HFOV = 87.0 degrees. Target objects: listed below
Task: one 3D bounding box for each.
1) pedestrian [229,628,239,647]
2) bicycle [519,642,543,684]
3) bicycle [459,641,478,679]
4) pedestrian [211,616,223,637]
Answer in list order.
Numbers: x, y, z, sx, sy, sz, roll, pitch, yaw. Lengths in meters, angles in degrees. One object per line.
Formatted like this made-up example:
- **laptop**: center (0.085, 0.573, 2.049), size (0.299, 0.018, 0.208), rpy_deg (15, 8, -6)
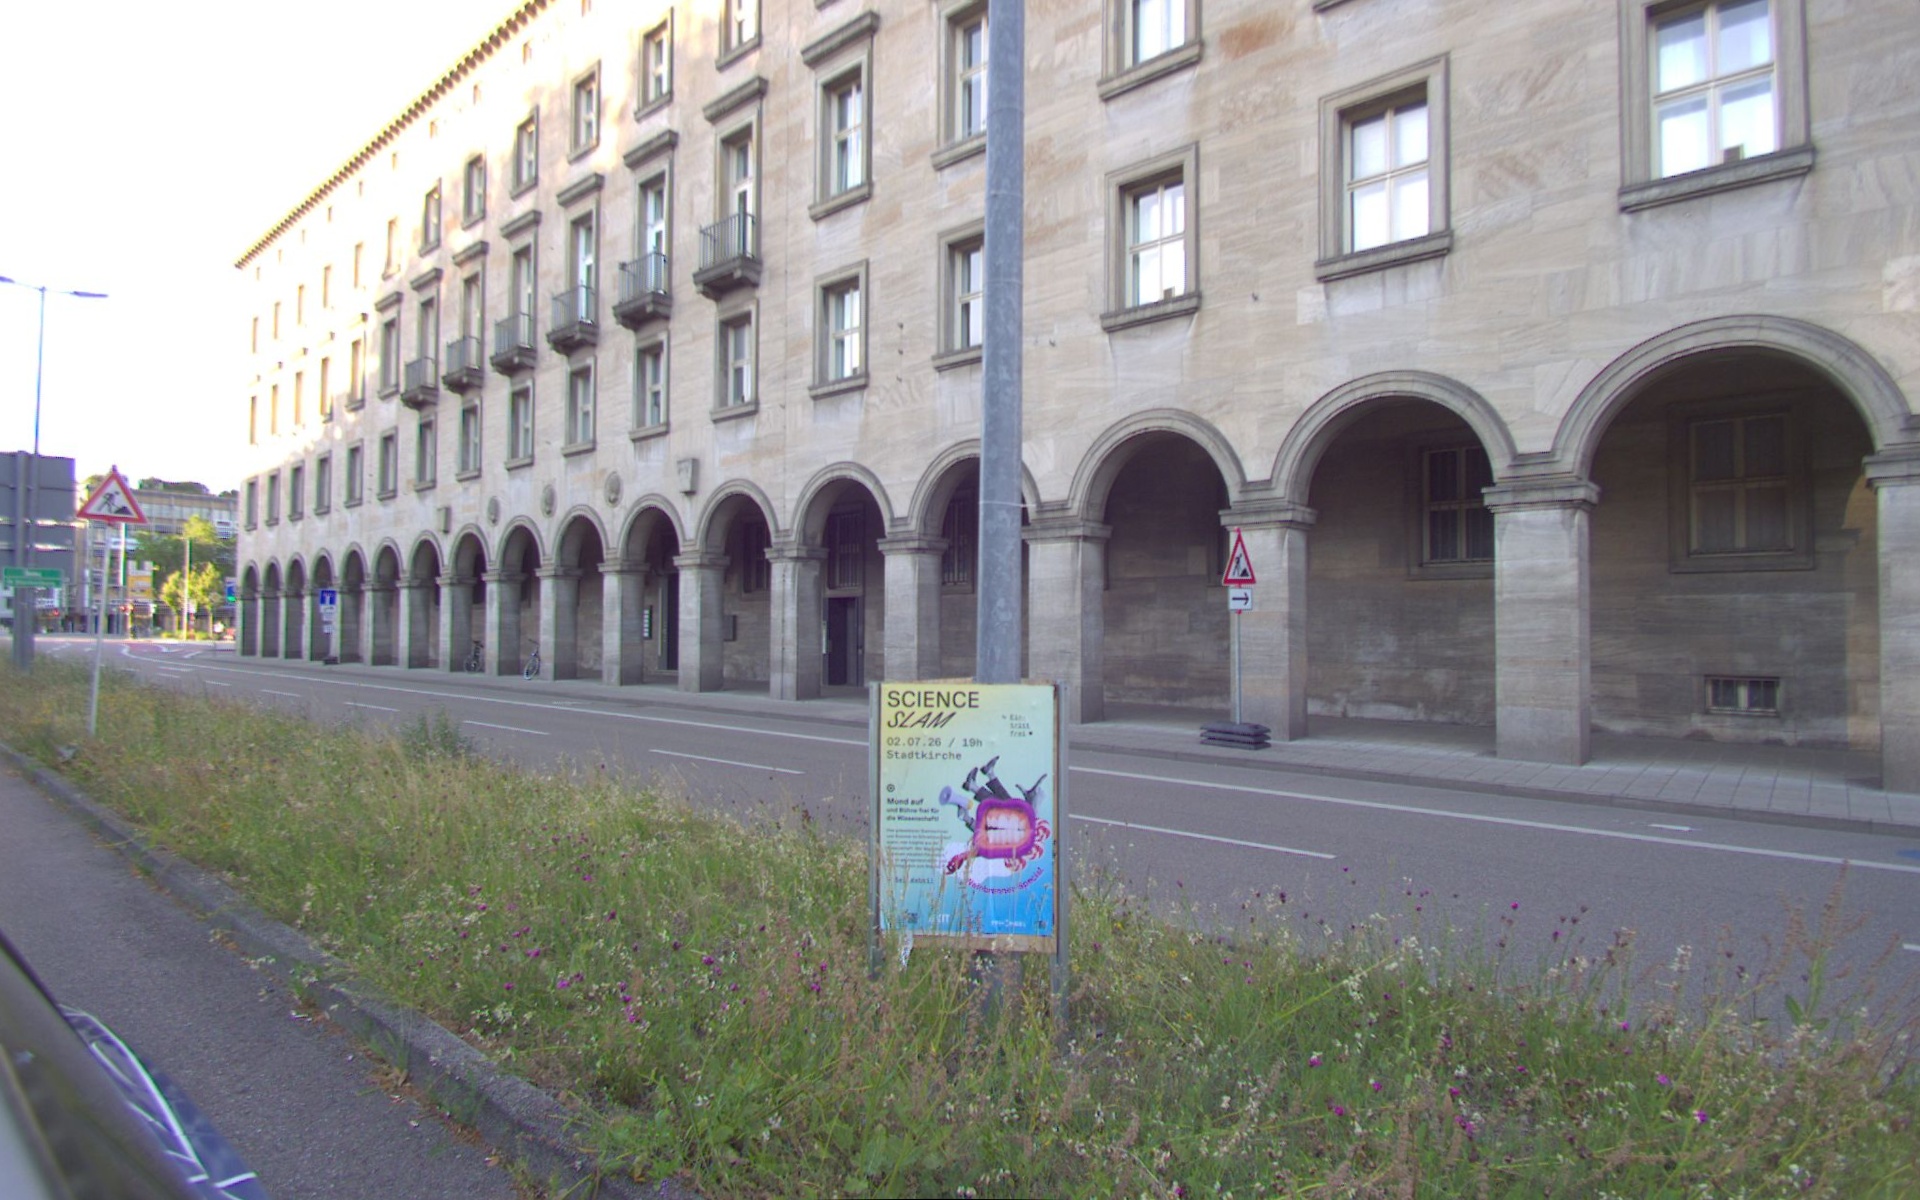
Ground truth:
- **pedestrian**: center (-59.583, 3.073, 83.050), size (0.389, 1.553, 0.519), rpy_deg (-2, -3, 41)
- **bicycle**: center (-12.764, 1.861, 30.164), size (0.505, 1.130, 2.431), rpy_deg (1, -1, -20)
- **bicycle**: center (-16.102, 1.932, 33.186), size (0.505, 1.188, 2.431), rpy_deg (1, -2, -25)
- **pedestrian**: center (-60.433, 2.161, 82.318), size (0.506, 1.771, 0.630), rpy_deg (-2, -3, 41)
